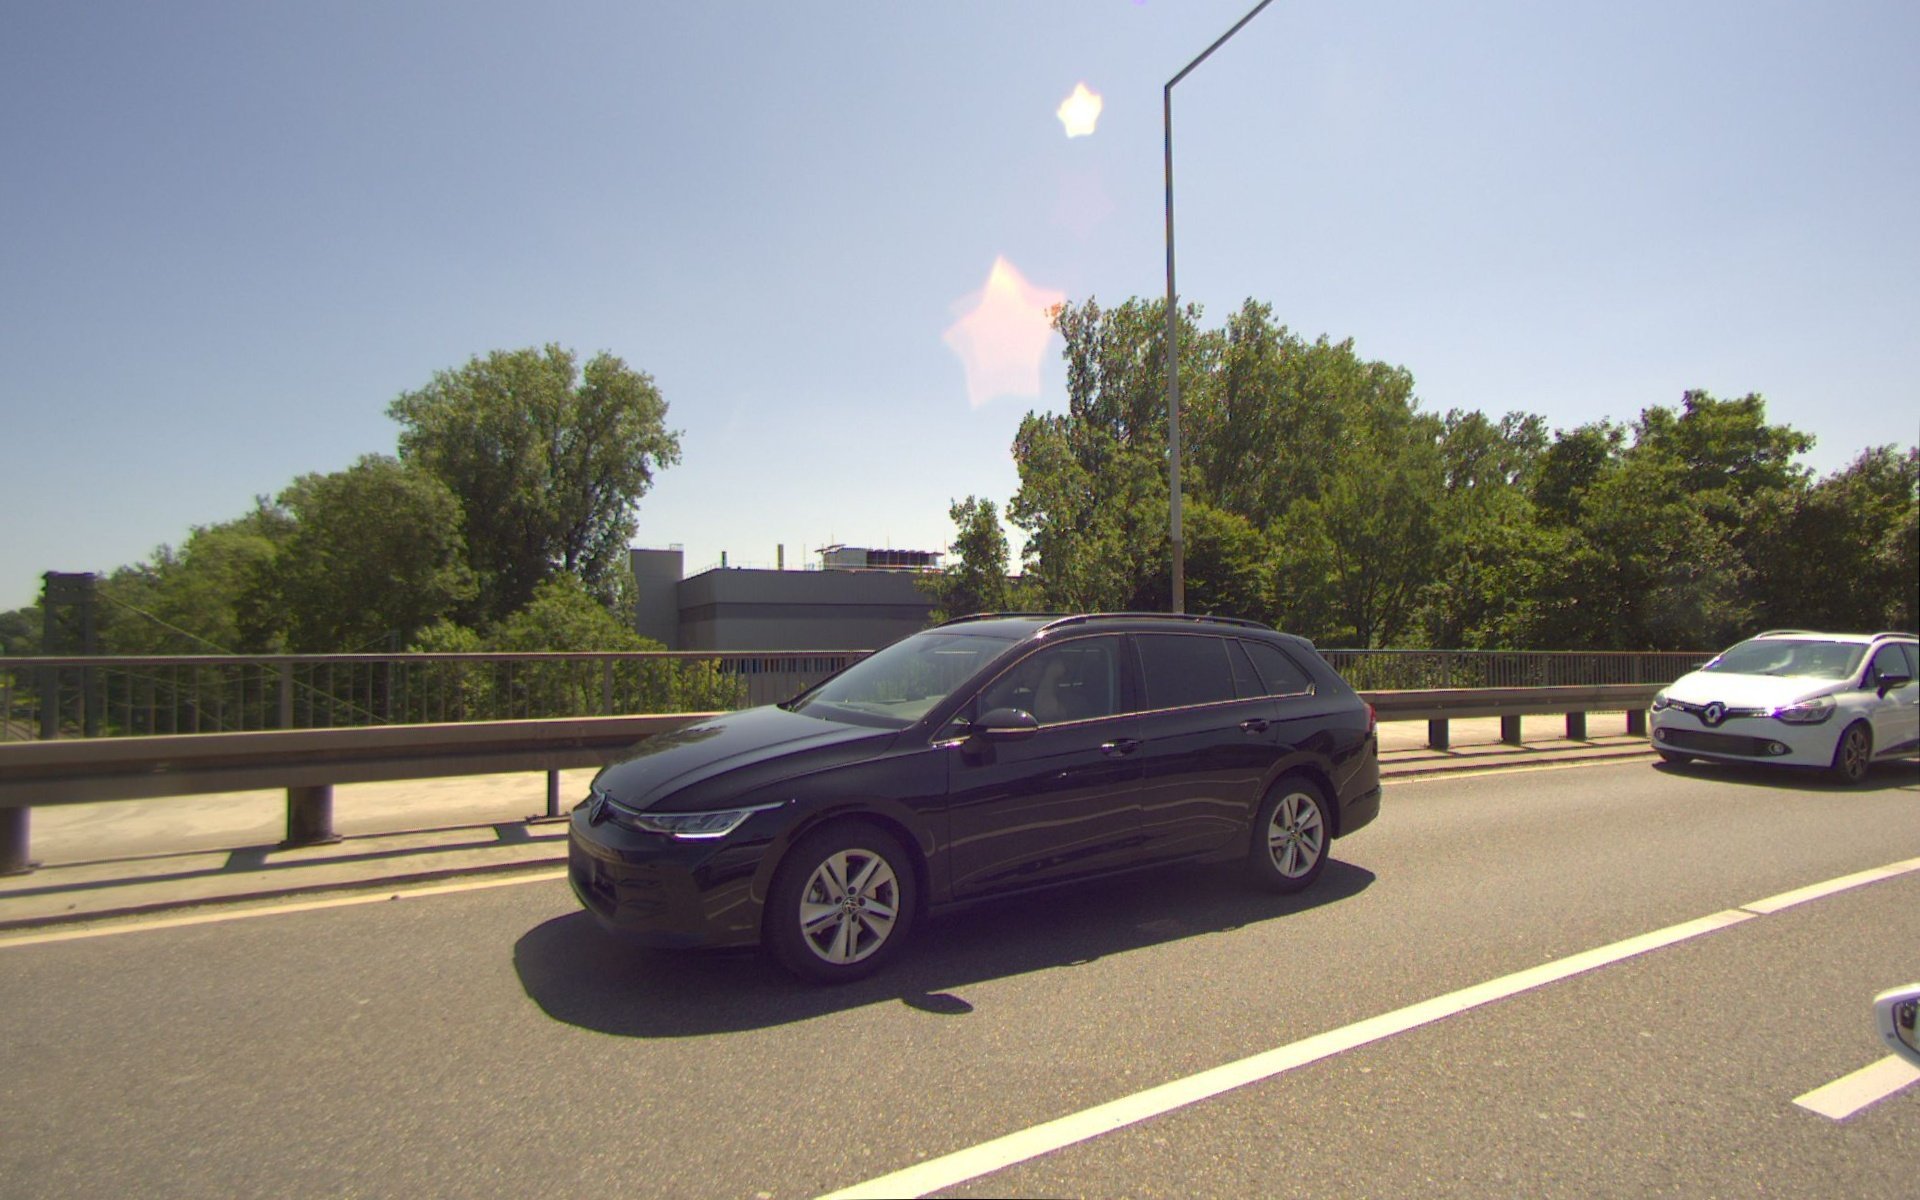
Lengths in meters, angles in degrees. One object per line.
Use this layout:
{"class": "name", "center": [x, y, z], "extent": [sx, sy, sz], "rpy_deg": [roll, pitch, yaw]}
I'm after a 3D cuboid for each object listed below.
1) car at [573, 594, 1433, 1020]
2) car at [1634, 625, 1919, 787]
{"class": "car", "center": [0.402, 0.777, 5.385], "extent": [4.408, 1.488, 1.702], "rpy_deg": [1, -1, -31]}
{"class": "car", "center": [9.281, 1.039, 10.862], "extent": [4.004, 1.468, 1.593], "rpy_deg": [2, -1, -27]}
